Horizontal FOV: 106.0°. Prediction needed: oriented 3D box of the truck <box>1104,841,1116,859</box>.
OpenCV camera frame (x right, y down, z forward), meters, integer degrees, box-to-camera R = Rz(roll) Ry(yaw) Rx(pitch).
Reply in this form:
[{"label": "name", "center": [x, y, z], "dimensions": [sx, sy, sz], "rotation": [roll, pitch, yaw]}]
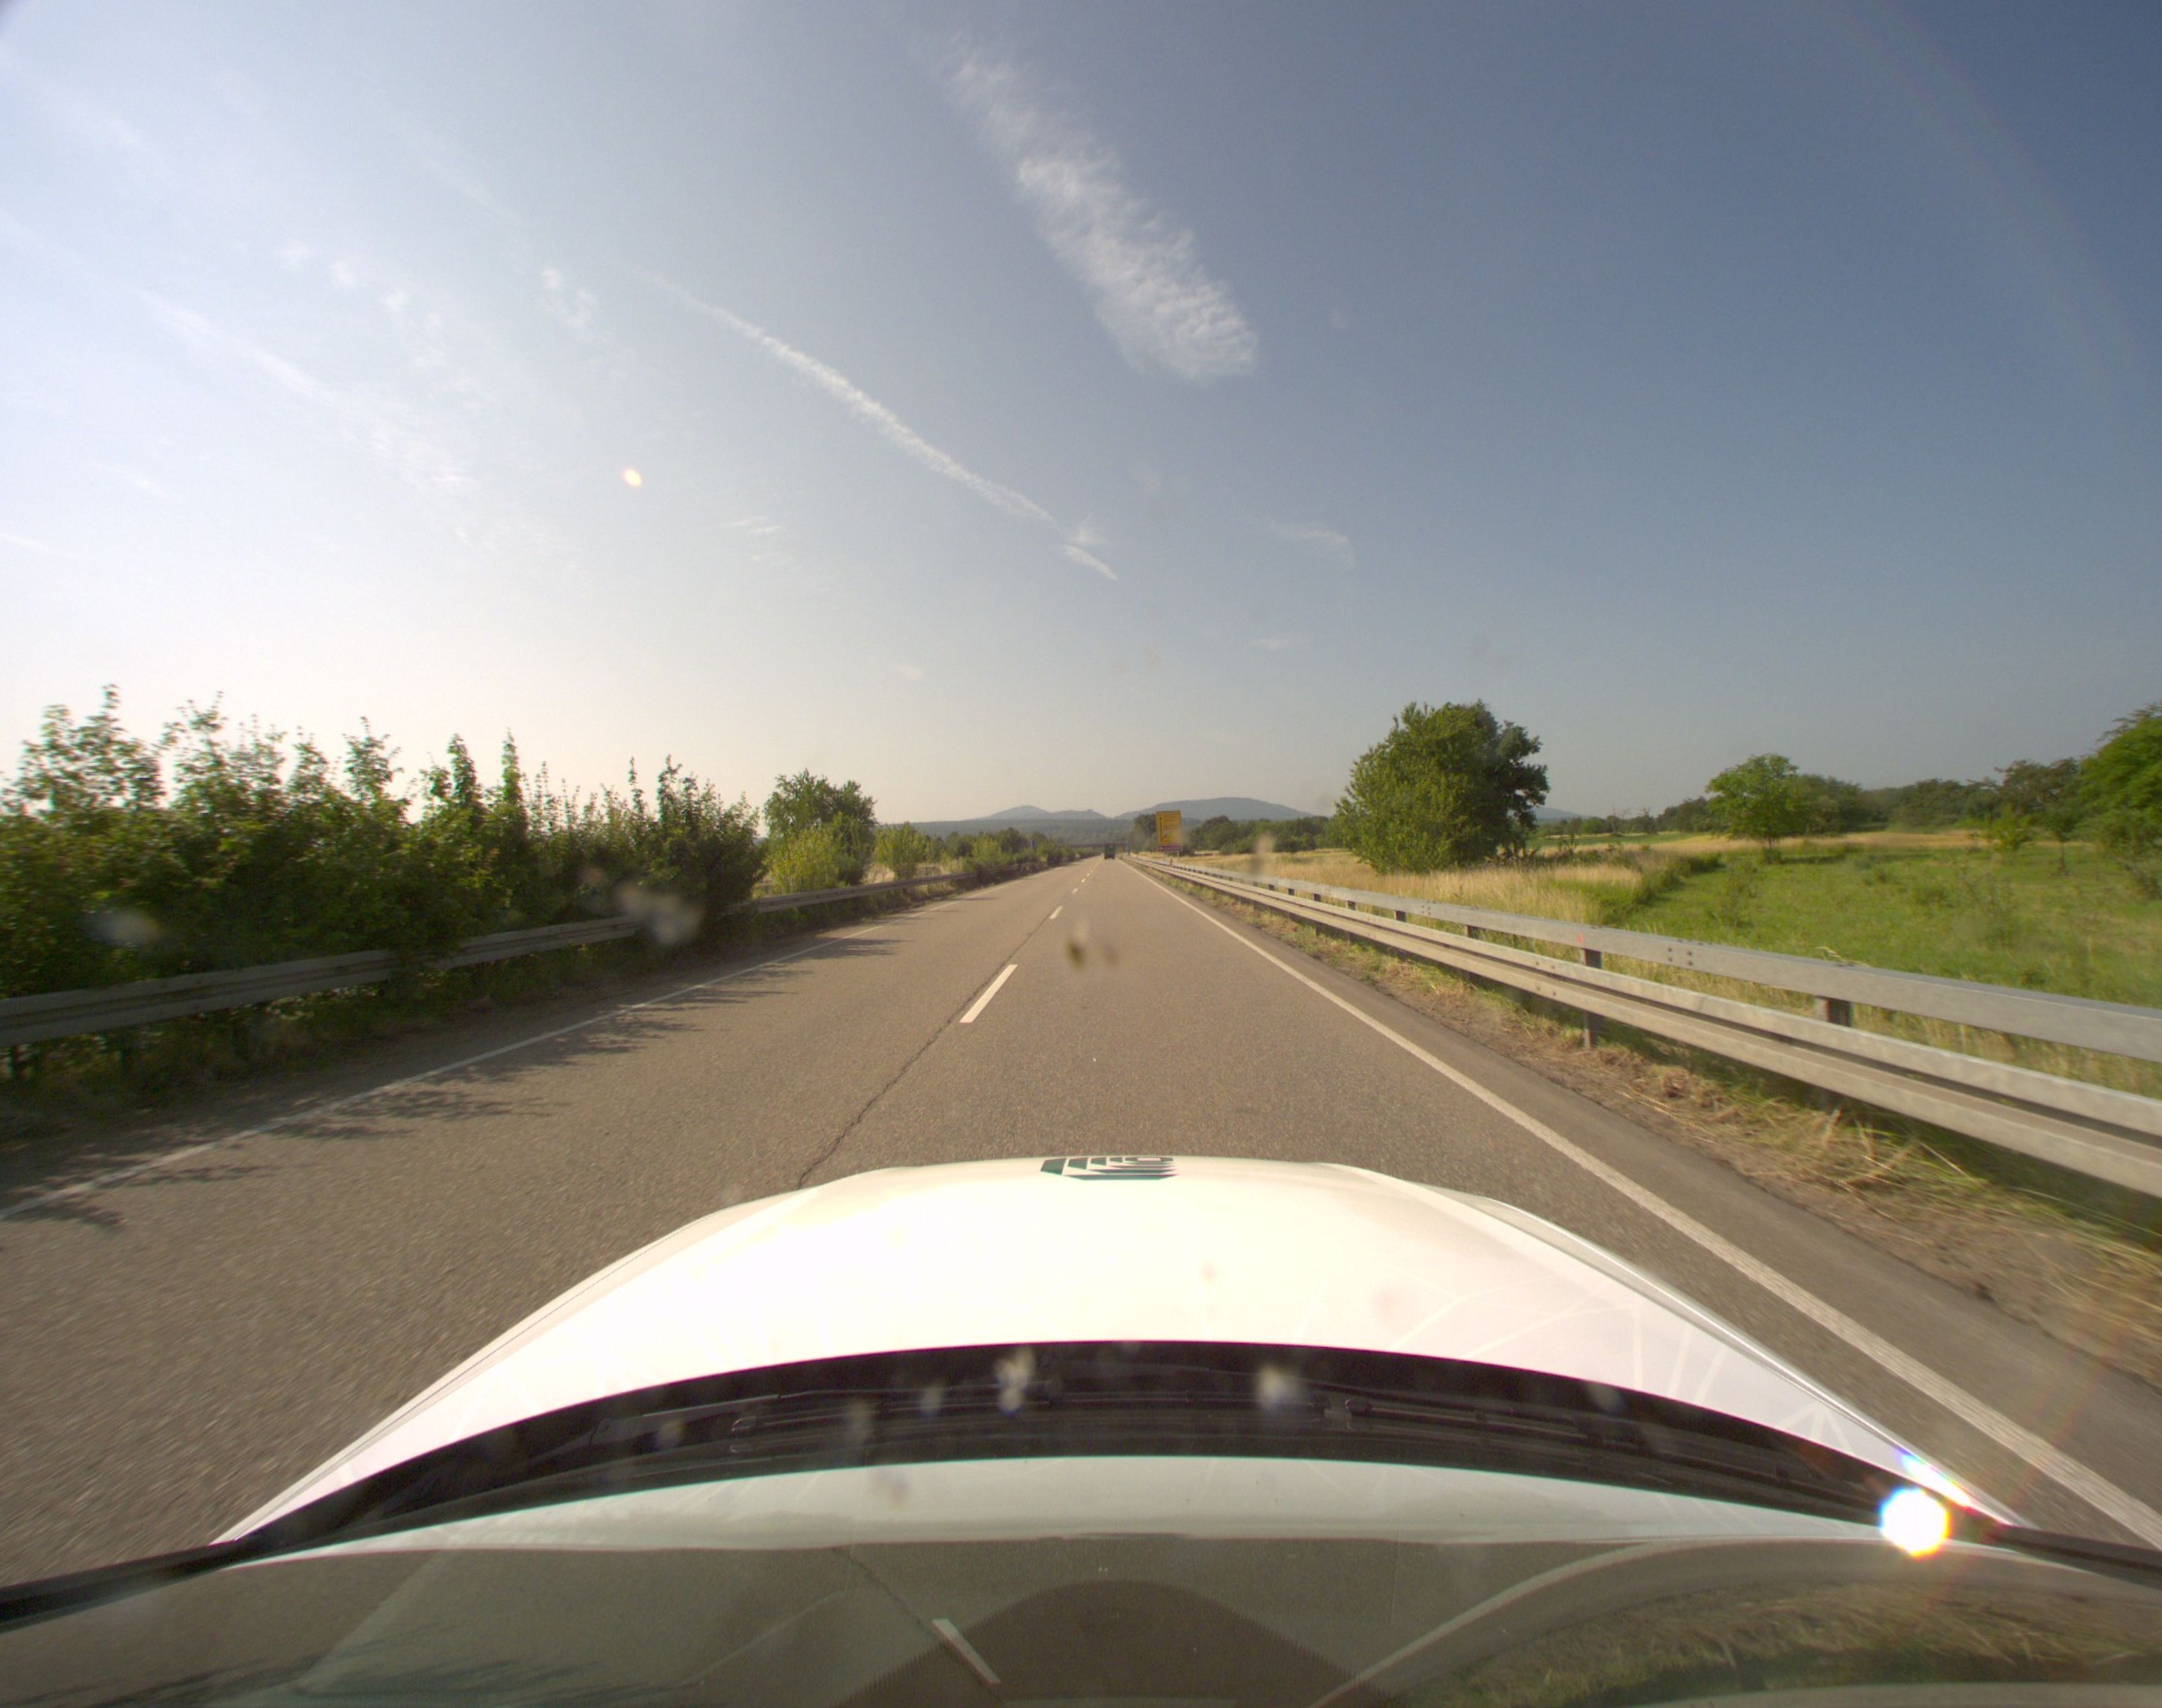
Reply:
[{"label": "truck", "center": [6.866, -0.970, 189.455], "dimensions": [2.711, 3.965, 10.422], "rotation": [0, 1, 2]}]
